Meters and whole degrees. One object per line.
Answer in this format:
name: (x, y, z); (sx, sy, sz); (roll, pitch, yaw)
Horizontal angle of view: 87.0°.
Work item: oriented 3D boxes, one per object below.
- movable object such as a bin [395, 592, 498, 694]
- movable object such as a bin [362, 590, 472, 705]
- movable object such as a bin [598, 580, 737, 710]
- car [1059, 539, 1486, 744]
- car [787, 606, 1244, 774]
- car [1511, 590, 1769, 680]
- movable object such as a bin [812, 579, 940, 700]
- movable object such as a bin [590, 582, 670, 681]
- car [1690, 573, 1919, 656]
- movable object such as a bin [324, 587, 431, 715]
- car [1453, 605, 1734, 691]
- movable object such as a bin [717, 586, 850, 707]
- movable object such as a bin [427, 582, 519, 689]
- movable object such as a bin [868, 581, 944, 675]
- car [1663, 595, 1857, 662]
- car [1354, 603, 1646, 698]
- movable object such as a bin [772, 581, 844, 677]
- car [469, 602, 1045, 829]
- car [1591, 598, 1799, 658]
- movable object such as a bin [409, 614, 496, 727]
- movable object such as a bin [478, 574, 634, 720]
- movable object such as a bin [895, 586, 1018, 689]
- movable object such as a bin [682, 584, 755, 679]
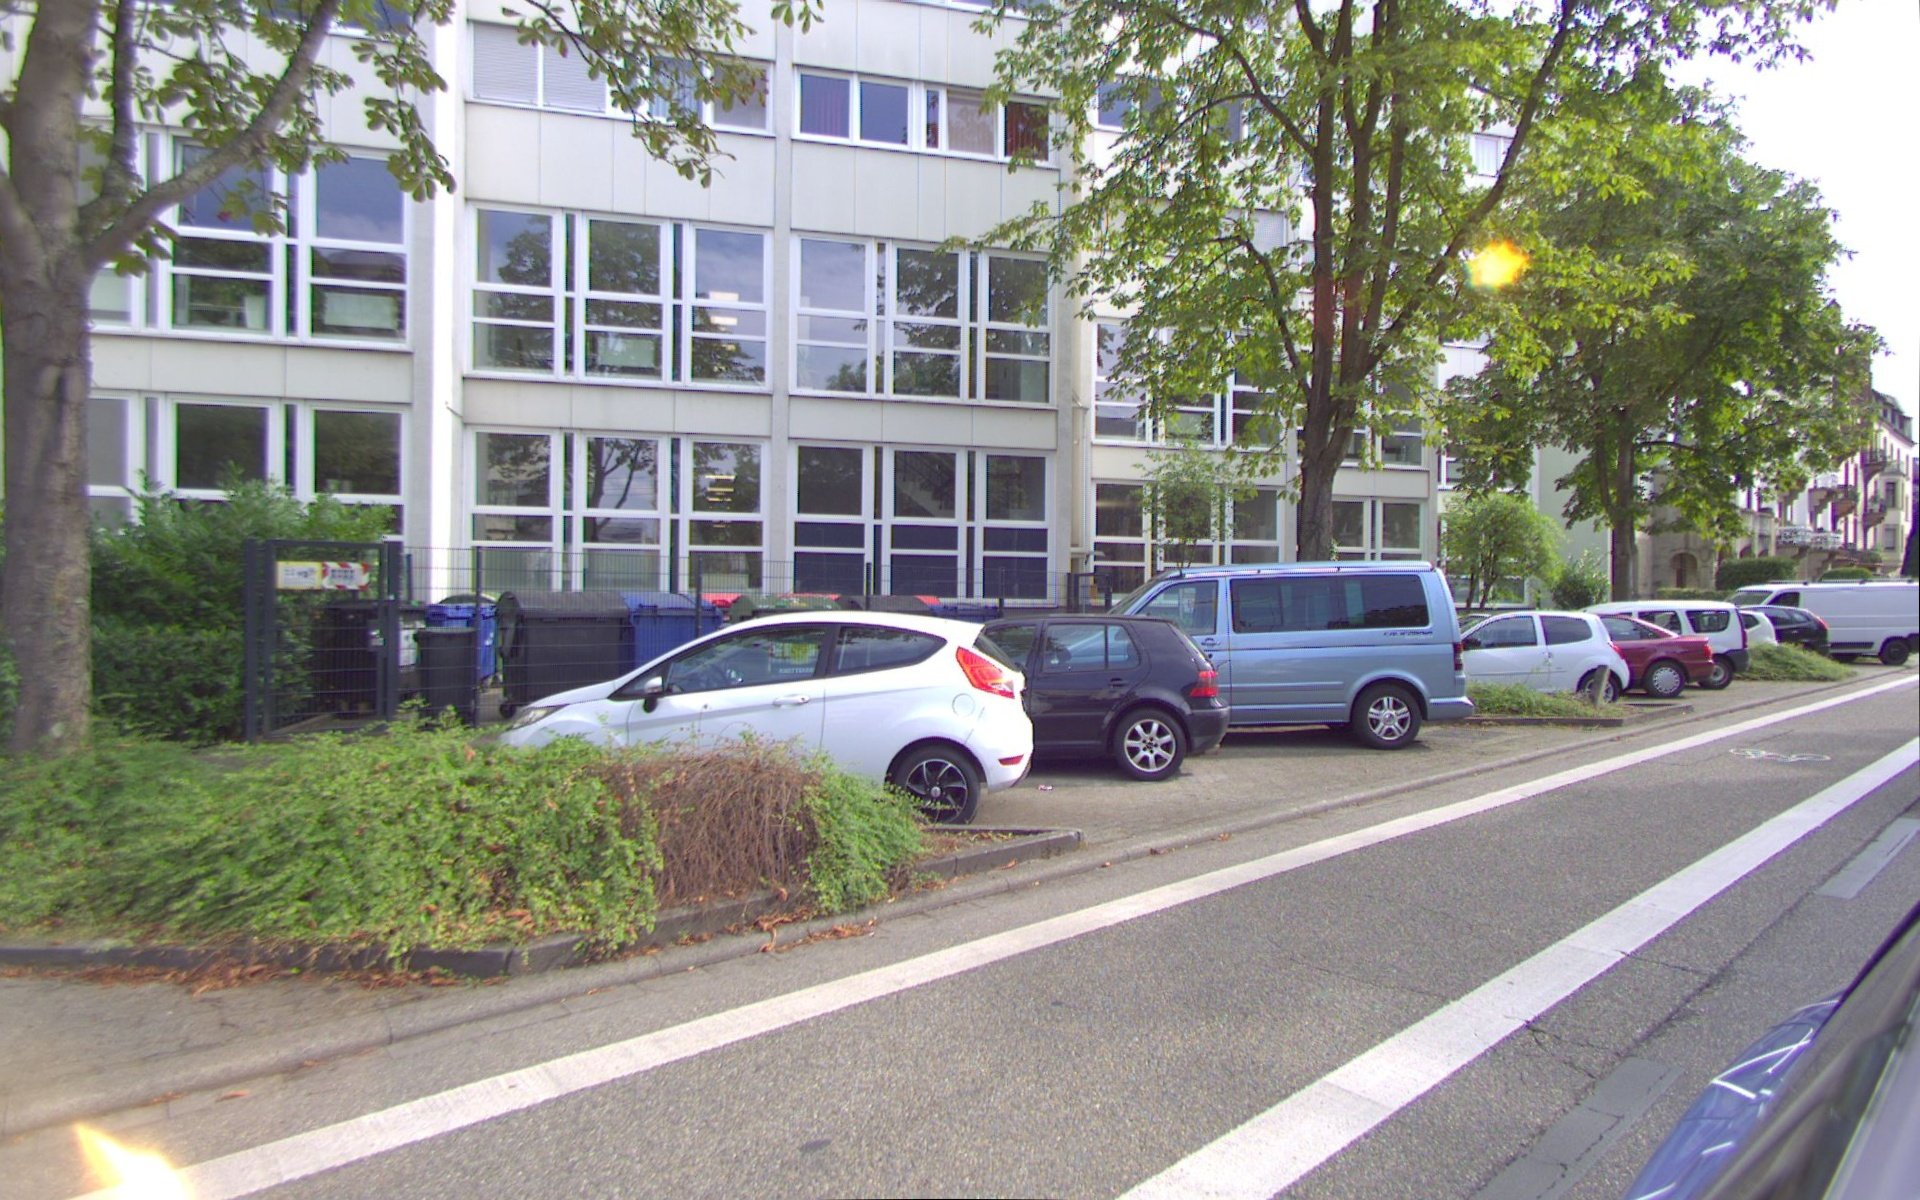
movable object such as a bin: (-7.297, 0.580, 14.465); (1.155, 1.387, 1.177); (0, 0, -19)
movable object such as a bin: (-7.020, 0.585, 13.154); (1.095, 1.409, 1.065); (0, 0, -19)
movable object such as a bin: (-3.692, 0.522, 12.737); (1.312, 1.523, 1.335); (0, 0, -36)
car: (3.308, 0.404, 11.495); (4.268, 2.090, 1.998); (0, 0, 5)
car: (0.499, 0.774, 9.558); (3.902, 1.405, 1.812); (0, -1, 5)
car: (13.006, 0.620, 19.583); (3.708, 1.638, 1.810); (0, 0, 9)
movable object such as a bin: (-1.210, 0.521, 14.470); (1.328, 1.616, 1.335); (0, 0, -36)
movable object such as a bin: (-5.487, 0.501, 16.911); (1.150, 1.588, 1.182); (0, 0, -12)
car: (23.936, 0.381, 28.246); (5.349, 2.203, 2.143); (0, 0, 9)
movable object such as a bin: (-6.785, 0.563, 11.839); (0.893, 1.425, 1.026); (0, 0, -19)
car: (10.886, 0.793, 17.646); (3.708, 1.355, 1.810); (0, 0, 9)
movable object such as a bin: (-2.384, 0.576, 13.615); (1.328, 1.521, 1.335); (0, 0, -36)
movable object such as a bin: (-7.570, 0.522, 15.815); (1.155, 1.588, 1.177); (0, 0, -19)
movable object such as a bin: (-0.966, 0.465, 17.751); (1.150, 1.588, 1.182); (0, 0, -12)
car: (20.736, 0.697, 26.415); (3.605, 1.609, 1.753); (0, 1, 24)
car: (8.249, 0.733, 15.744); (3.580, 1.347, 1.766); (0, 0, 5)
movable object such as a bin: (-2.636, 0.479, 17.449); (1.150, 1.588, 1.182); (0, 0, -12)
car: (-1.309, 0.733, 7.381); (3.792, 1.410, 1.632); (0, 0, 4)
car: (17.390, 0.640, 24.082); (3.580, 1.347, 1.766); (0, 0, 5)
movable object such as a bin: (-5.380, 0.714, 10.724); (0.729, 1.119, 0.786); (0, 0, -34)
movable object such as a bin: (-4.683, 0.498, 11.711); (1.389, 1.549, 1.330); (0, 0, -36)
movable object such as a bin: (-0.060, 0.531, 15.473); (1.374, 1.477, 1.335); (0, 0, -36)
movable object such as a bin: (-4.054, 0.506, 17.054); (1.150, 1.533, 1.182); (0, 0, -12)
